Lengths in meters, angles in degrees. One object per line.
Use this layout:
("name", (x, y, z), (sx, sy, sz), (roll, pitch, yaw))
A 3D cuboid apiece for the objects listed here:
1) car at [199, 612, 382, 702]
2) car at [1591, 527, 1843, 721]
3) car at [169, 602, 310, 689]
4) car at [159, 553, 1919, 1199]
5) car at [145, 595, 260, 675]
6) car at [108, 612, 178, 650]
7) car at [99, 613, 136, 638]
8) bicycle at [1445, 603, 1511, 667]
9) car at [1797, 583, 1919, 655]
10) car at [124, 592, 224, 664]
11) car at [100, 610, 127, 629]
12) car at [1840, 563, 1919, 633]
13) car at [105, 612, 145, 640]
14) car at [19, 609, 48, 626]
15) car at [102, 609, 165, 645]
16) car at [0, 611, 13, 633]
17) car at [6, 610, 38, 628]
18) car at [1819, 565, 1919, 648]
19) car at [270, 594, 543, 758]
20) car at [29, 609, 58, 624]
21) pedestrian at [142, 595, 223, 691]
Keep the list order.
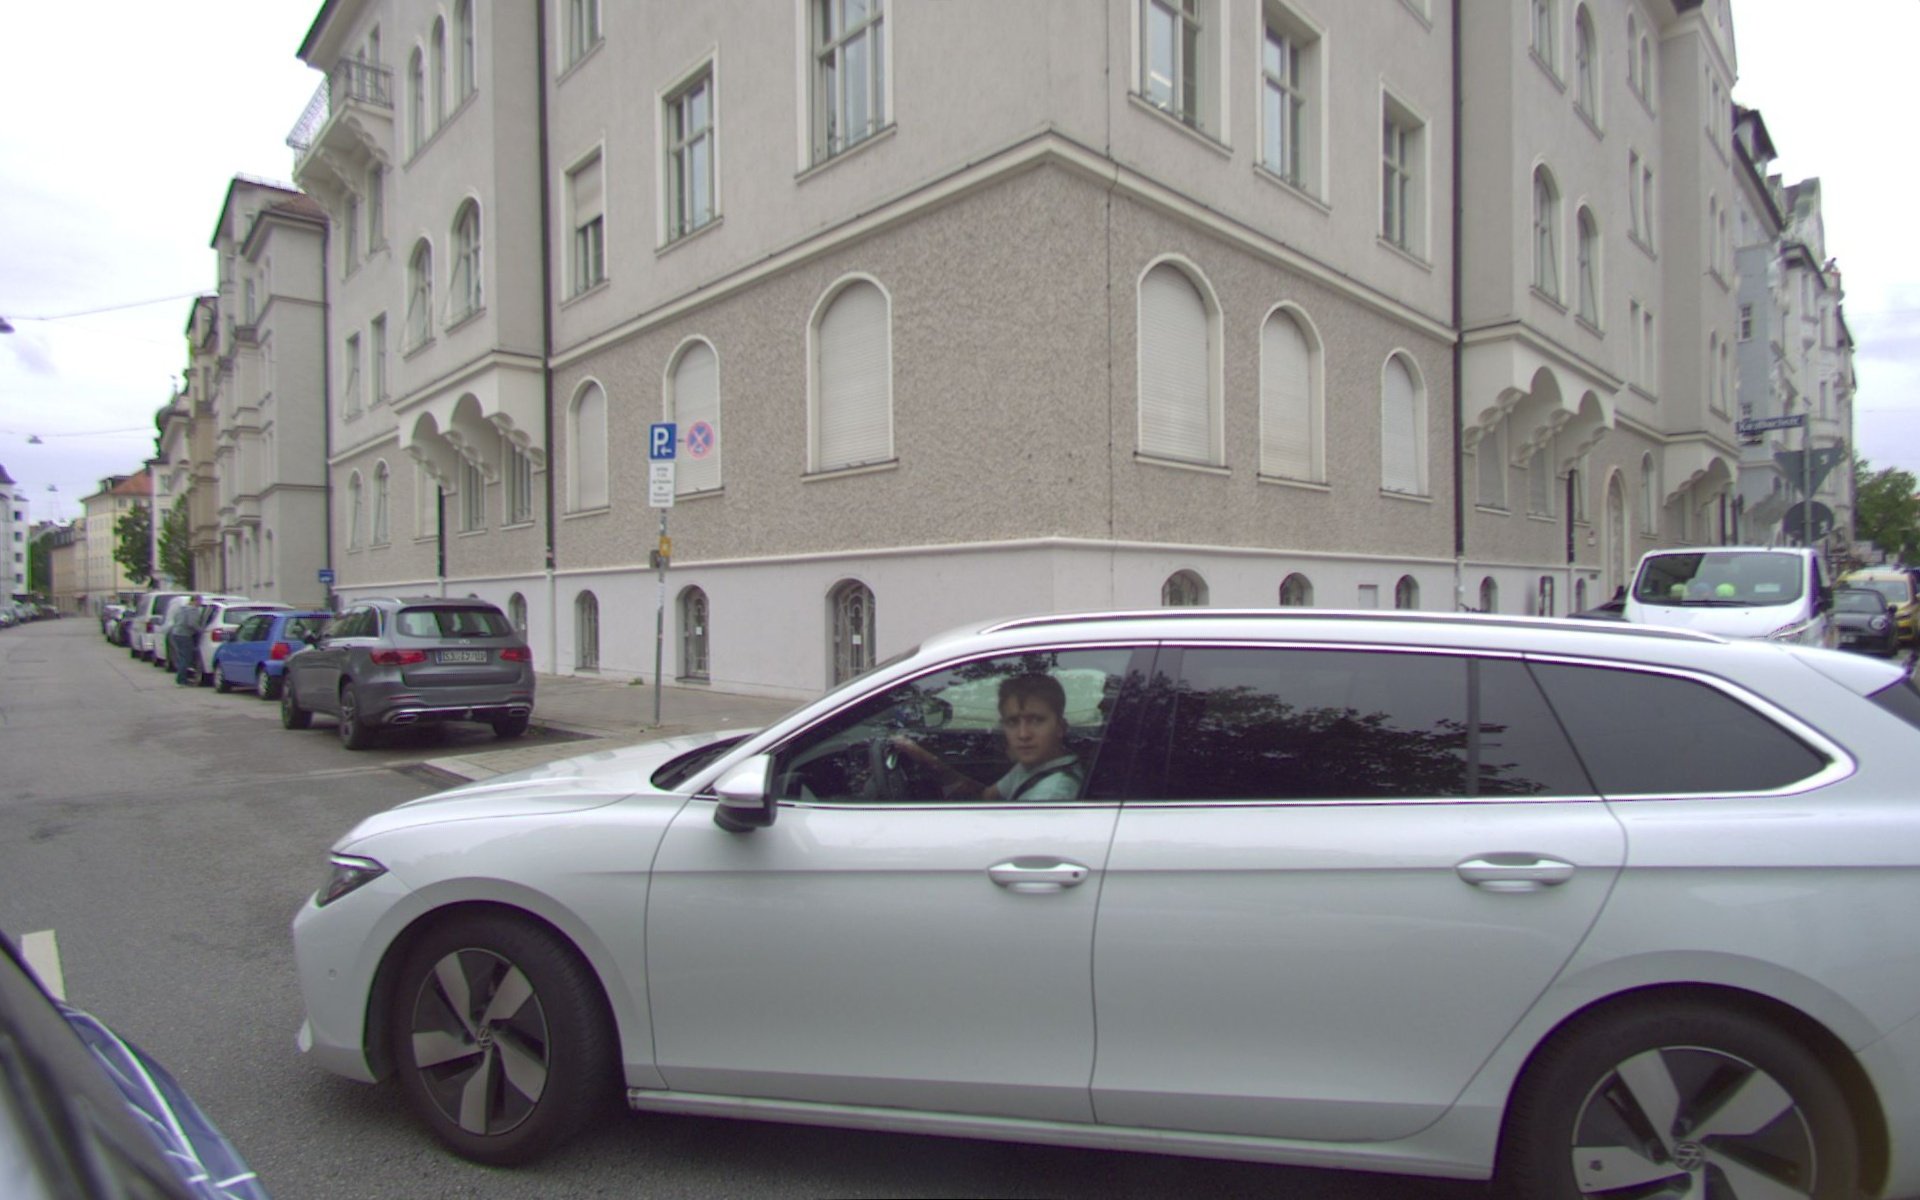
("car", (-11.778, 0.920, 17.739), (3.659, 1.425, 1.675), (-1, -1, 39))
("car", (9.362, 0.206, 12.326), (1.925, 1.895, 4.841), (-1, 0, 43))
("car", (-15.074, 0.868, 21.074), (1.726, 1.614, 4.499), (1, -1, -44))
("car", (0.501, 0.656, 3.108), (4.836, 1.459, 1.885), (-1, 0, 9))
("car", (-19.031, 0.819, 25.329), (1.726, 1.802, 5.041), (1, -1, -44))
("car", (-32.267, 1.184, 39.930), (1.834, 1.423, 4.383), (2, -2, -43))
("car", (-49.342, 1.460, 59.306), (1.602, 1.440, 3.948), (1, -1, -40))
("bicycle", (9.259, 0.604, 18.044), (1.803, 1.057, 0.492), (-1, 0, -44))
("car", (18.615, 0.357, 20.914), (1.698, 1.356, 3.626), (-1, 0, 45))
("car", (-23.231, 0.779, 29.848), (1.834, 1.953, 4.962), (1, -1, -44))
("car", (-68.817, 1.571, 82.281), (1.603, 1.542, 3.694), (1, -1, -41))
("car", (29.886, -0.059, 32.724), (2.124, 2.107, 4.756), (-1, 0, 41))
("car", (-45.593, 1.379, 55.233), (1.603, 1.467, 3.947), (1, -1, -40))
("car", (-104.204, 1.999, 113.890), (1.968, 1.694, 4.307), (-5, 2, -38))
("car", (-35.694, 1.151, 43.658), (1.834, 1.474, 4.383), (1, -1, -43))
("car", (-71.960, 1.673, 75.138), (1.969, 1.606, 4.306), (-5, 2, -39))
("car", (-94.908, 1.942, 102.415), (1.969, 1.606, 4.306), (-5, 2, -39))
("car", (22.502, 0.136, 24.582), (4.073, 1.852, 2.029), (0, 0, -43))
("car", (-6.792, 0.776, 12.176), (1.726, 1.614, 4.499), (1, -1, -44))
("car", (-110.532, 1.938, 122.074), (1.968, 1.606, 4.309), (-5, 2, -36))
("pedestrian", (-14.829, 0.803, 19.327), (0.862, 1.769, 0.967), (-1, 0, -12))
